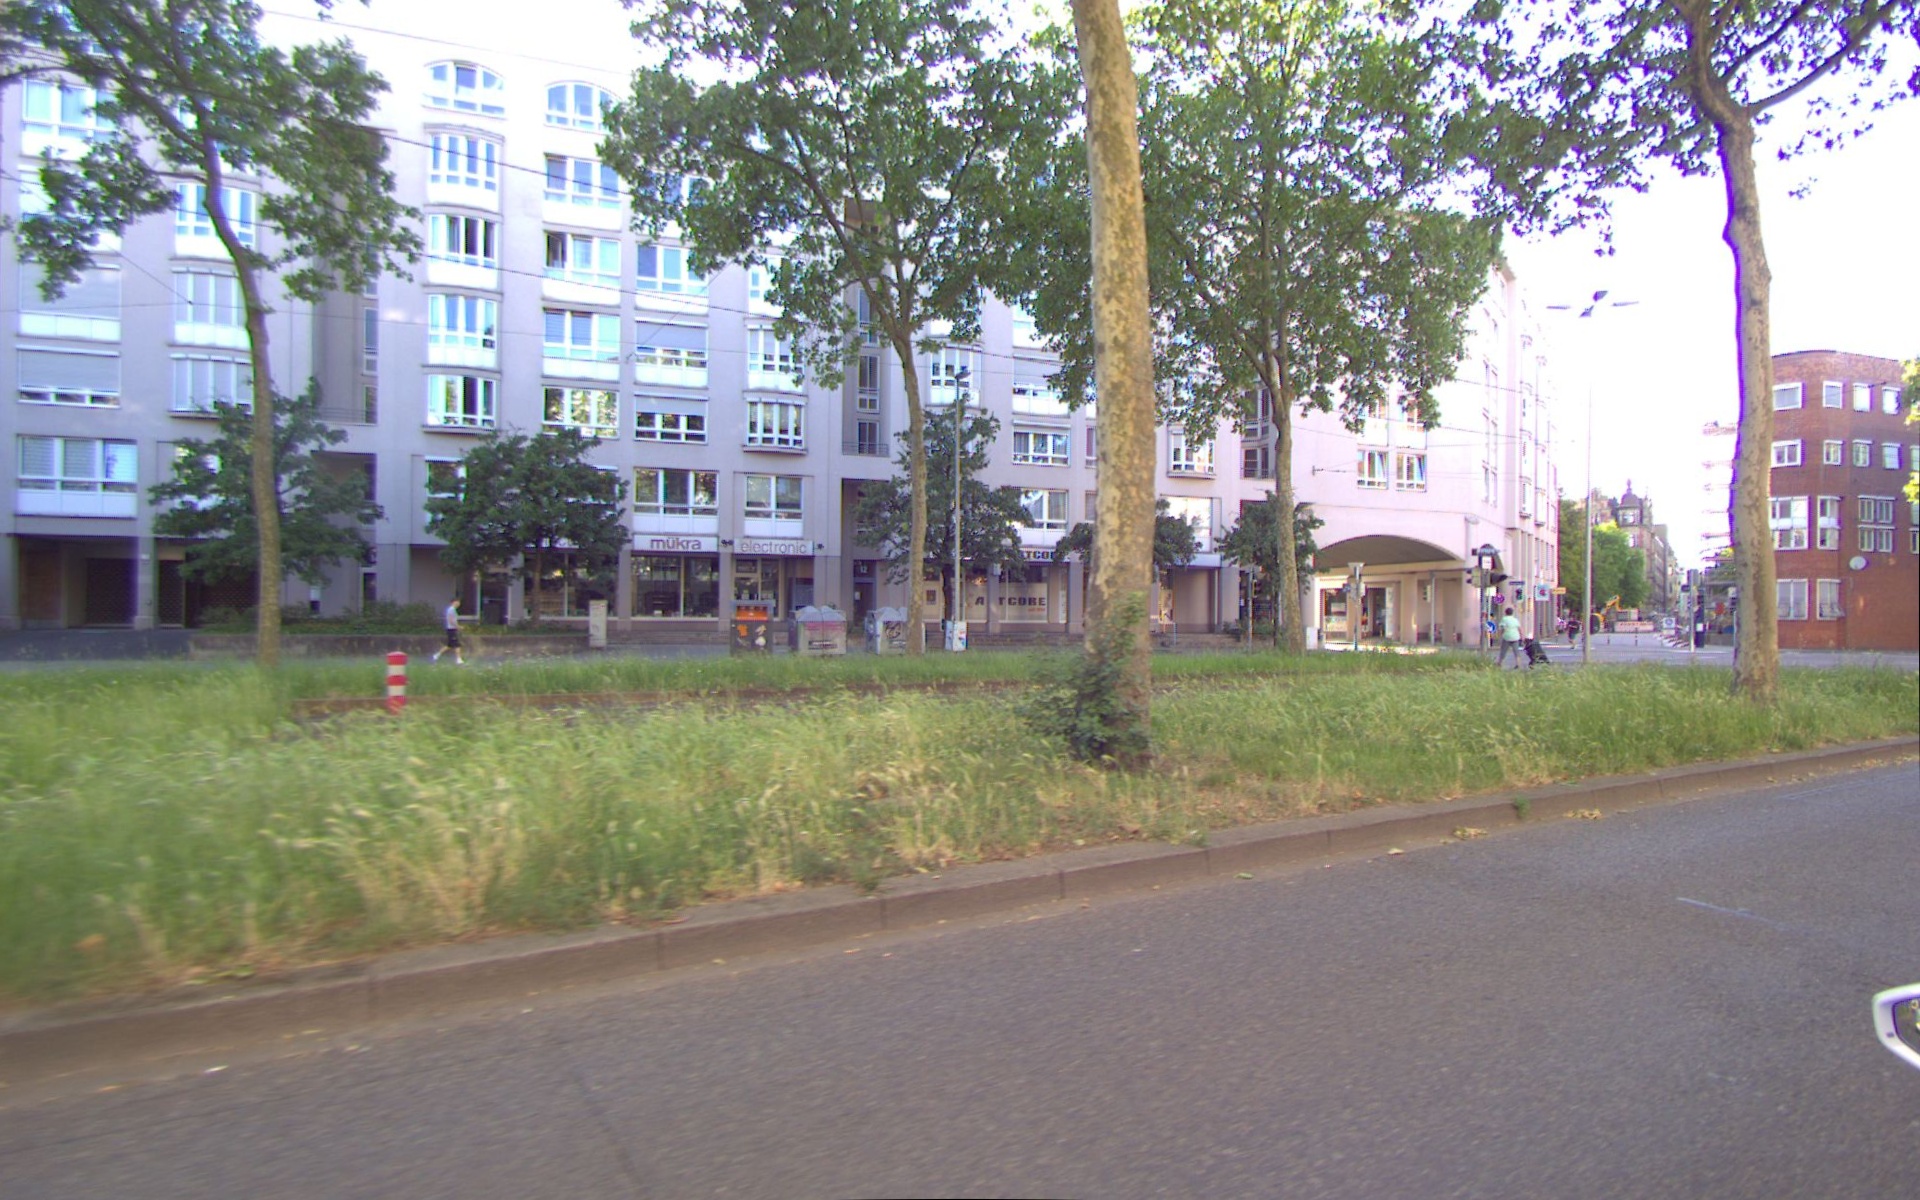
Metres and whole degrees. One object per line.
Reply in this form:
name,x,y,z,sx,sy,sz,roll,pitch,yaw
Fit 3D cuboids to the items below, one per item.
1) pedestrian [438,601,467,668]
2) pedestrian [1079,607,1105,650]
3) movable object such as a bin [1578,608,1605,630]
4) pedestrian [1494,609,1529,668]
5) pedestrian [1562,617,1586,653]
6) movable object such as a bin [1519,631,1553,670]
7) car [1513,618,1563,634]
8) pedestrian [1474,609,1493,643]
pedestrian,-13.494,0.910,26.718,0.639,1.763,0.726,0,0,-26
pedestrian,5.124,1.099,38.914,0.776,1.660,0.706,0,0,-18
movable object such as a bin,67.655,2.015,107.621,2.769,2.341,1.908,1,-1,-44
pedestrian,14.399,0.995,26.239,0.526,1.523,0.618,0,0,-16
pedestrian,32.297,1.819,52.841,0.742,1.894,0.852,1,-1,-27
movable object such as a bin,14.724,1.278,25.680,0.530,0.966,0.510,1,0,-16
car,53.182,2.347,92.451,3.927,1.419,1.997,0,-1,28
pedestrian,32.016,1.595,61.437,0.825,2.040,0.883,0,-1,41
